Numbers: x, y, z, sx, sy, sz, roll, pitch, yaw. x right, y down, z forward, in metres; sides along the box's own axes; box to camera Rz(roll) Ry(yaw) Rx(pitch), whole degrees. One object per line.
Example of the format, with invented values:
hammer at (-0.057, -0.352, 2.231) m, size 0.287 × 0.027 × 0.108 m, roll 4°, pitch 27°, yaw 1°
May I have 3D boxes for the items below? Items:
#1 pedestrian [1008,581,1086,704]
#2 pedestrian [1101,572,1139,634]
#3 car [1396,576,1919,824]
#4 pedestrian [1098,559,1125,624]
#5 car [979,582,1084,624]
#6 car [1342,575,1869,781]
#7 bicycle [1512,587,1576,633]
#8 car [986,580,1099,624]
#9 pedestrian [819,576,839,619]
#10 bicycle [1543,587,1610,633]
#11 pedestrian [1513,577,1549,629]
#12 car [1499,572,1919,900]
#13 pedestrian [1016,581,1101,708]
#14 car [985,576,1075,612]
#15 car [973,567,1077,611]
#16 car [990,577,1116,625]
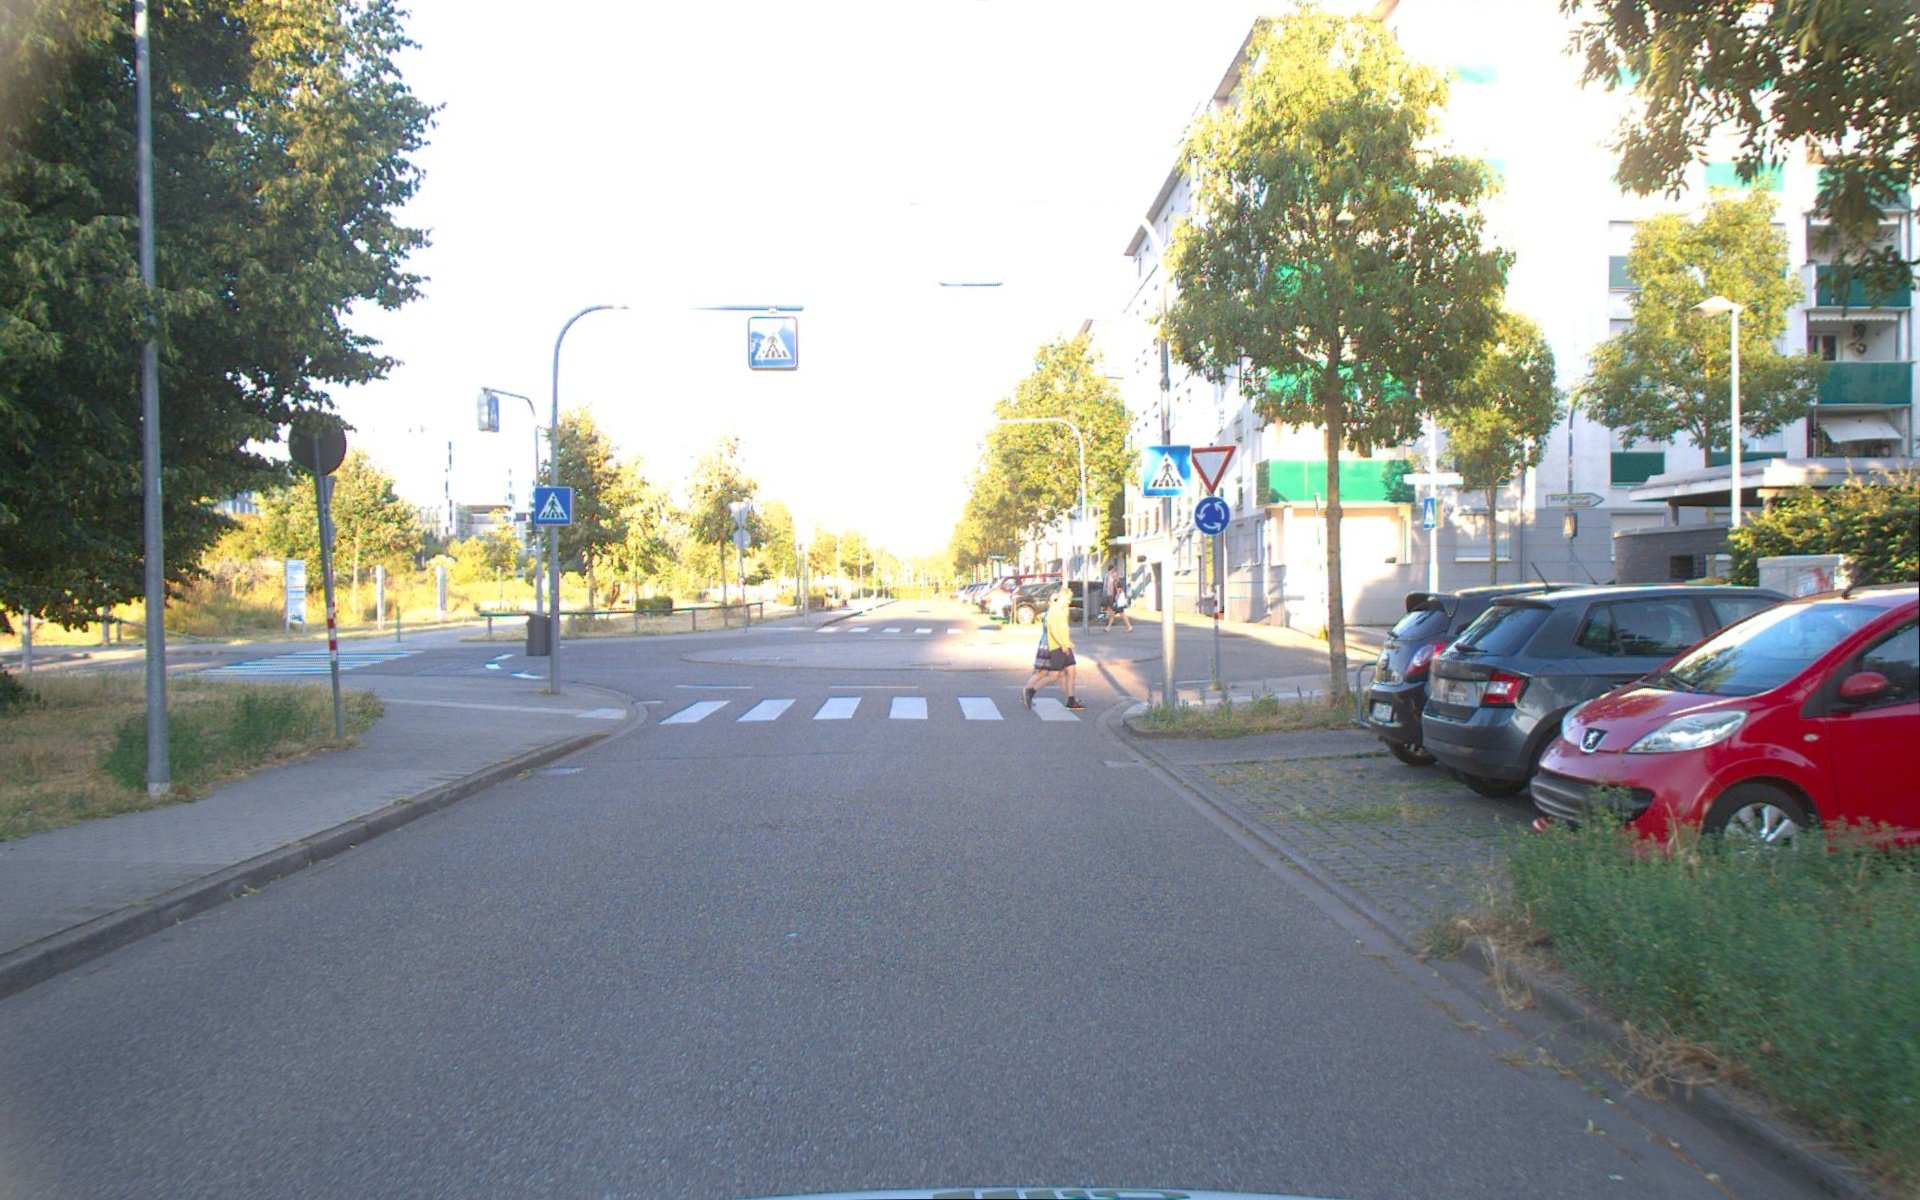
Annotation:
pedestrian at (1.243, 0.600, 23.740) m, size 0.966 × 1.723 × 0.698 m, roll -1°, pitch 0°, yaw -13°
pedestrian at (4.730, 0.079, 48.920) m, size 0.984 × 1.819 × 0.761 m, roll 1°, pitch 0°, yaw -8°
car at (5.107, 0.621, 11.408) m, size 3.727 × 1.535 × 1.678 m, roll -1°, pitch 0°, yaw -3°
pedestrian at (4.822, -0.276, 52.659) m, size 0.828 × 2.049 × 0.944 m, roll -1°, pitch 0°, yaw 4°
car at (2.874, 0.114, 67.043) m, size 4.176 × 1.624 × 2.000 m, roll -1°, pitch 0°, yaw 0°
car at (5.260, 0.619, 13.822) m, size 3.725 × 1.535 × 1.678 m, roll -1°, pitch -1°, yaw -1°
bicycle at (15.459, 0.259, 43.846) m, size 0.682 × 1.171 × 2.459 m, roll -1°, pitch 0°, yaw -4°
car at (3.169, 0.056, 64.315) m, size 4.266 × 1.624 × 2.000 m, roll -1°, pitch 0°, yaw 0°
pedestrian at (-6.262, -0.117, 79.178) m, size 0.851 × 2.049 × 0.787 m, roll -1°, pitch 0°, yaw -12°
bicycle at (16.182, 0.248, 43.466) m, size 0.674 × 1.171 × 2.520 m, roll -1°, pitch 0°, yaw -4°
pedestrian at (15.413, 0.088, 44.628) m, size 0.644 × 1.379 × 0.802 m, roll -1°, pitch 0°, yaw -4°
car at (5.006, 0.622, 8.785) m, size 3.727 × 1.535 × 1.678 m, roll -1°, pitch 0°, yaw -3°
pedestrian at (1.369, 0.609, 23.053) m, size 1.001 × 1.723 × 0.757 m, roll -1°, pitch 0°, yaw -12°
car at (3.313, -0.288, 79.277) m, size 4.177 × 1.624 × 1.999 m, roll -1°, pitch 0°, yaw -2°
car at (3.219, -0.558, 82.335) m, size 4.906 × 2.081 × 2.248 m, roll -1°, pitch 0°, yaw -6°
car at (3.287, 0.039, 59.166) m, size 4.392 × 1.624 × 2.000 m, roll -1°, pitch 0°, yaw 0°
